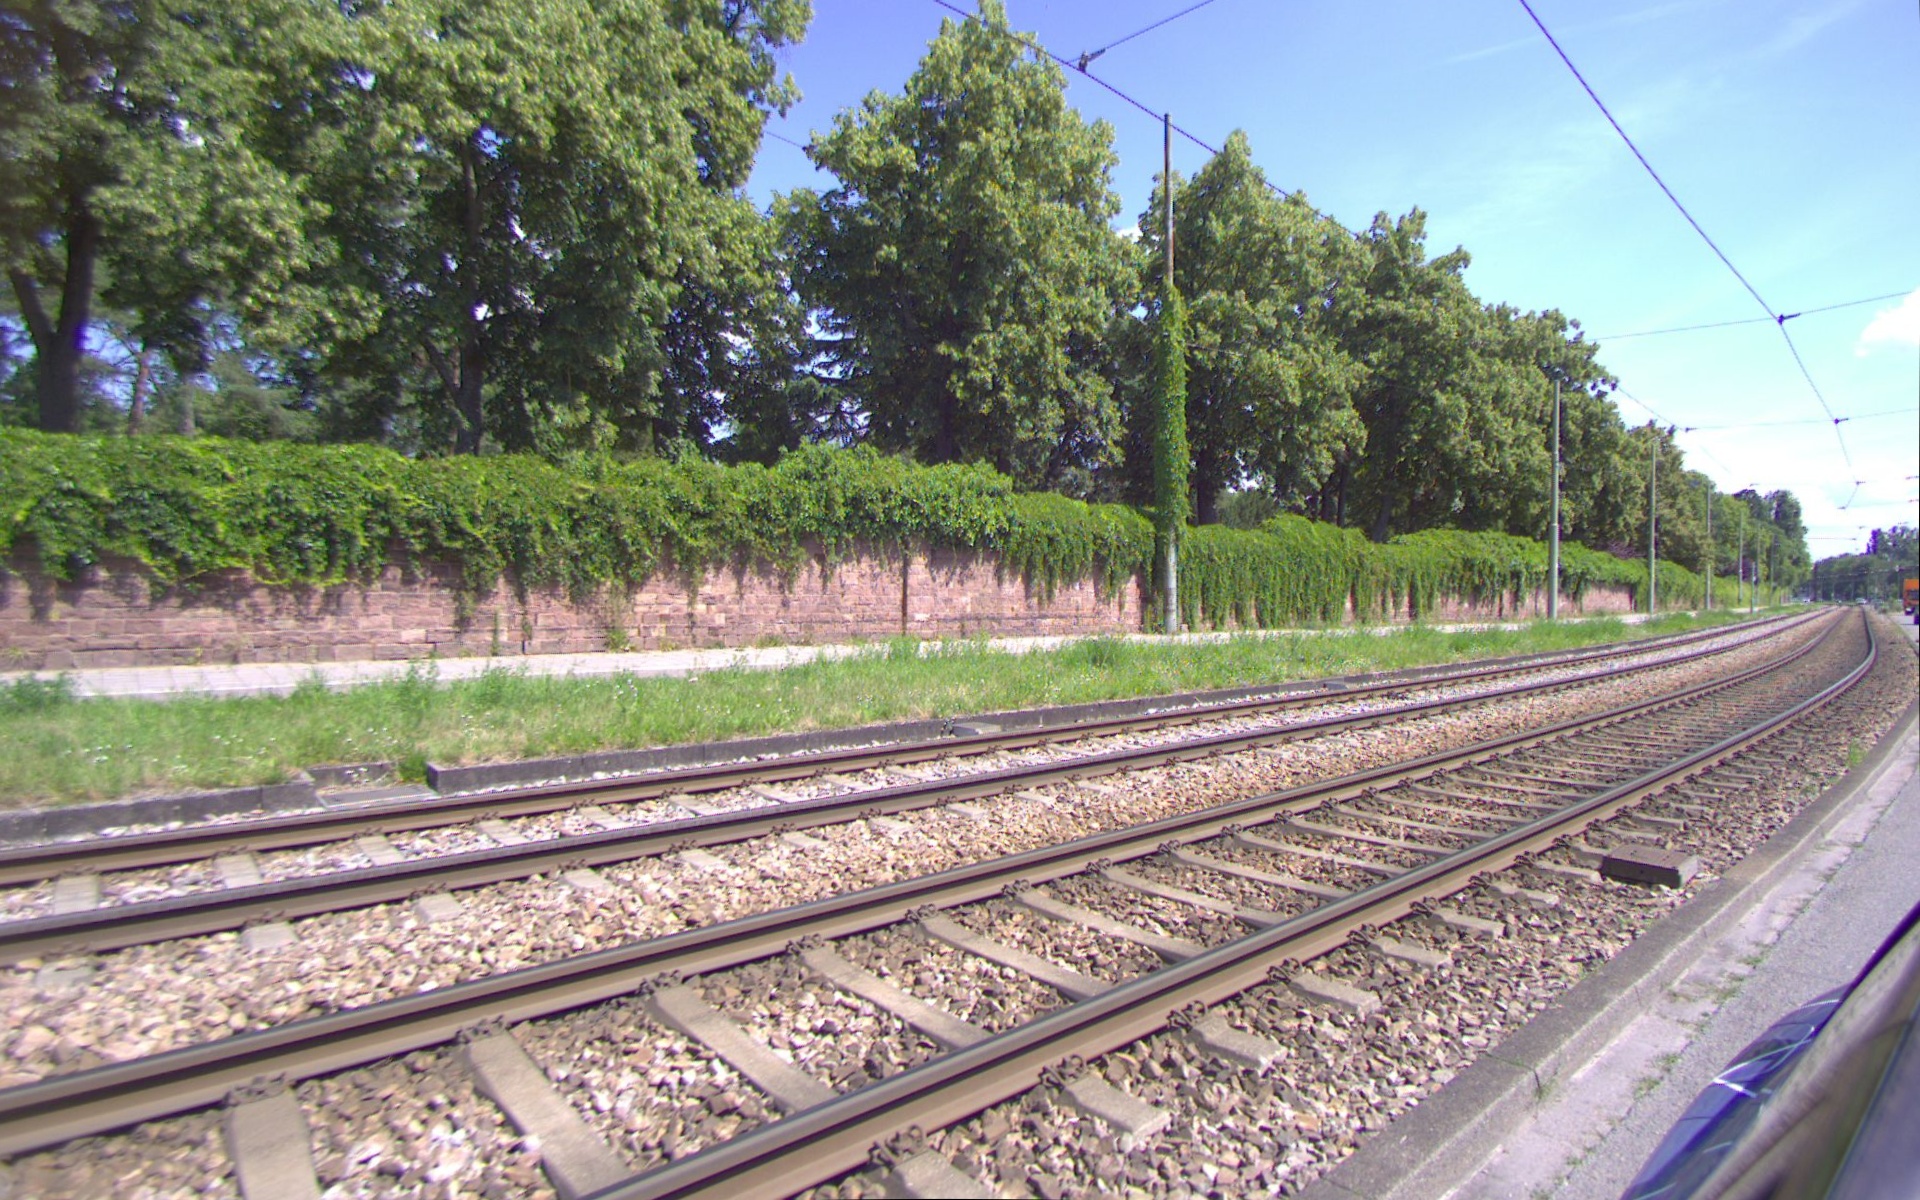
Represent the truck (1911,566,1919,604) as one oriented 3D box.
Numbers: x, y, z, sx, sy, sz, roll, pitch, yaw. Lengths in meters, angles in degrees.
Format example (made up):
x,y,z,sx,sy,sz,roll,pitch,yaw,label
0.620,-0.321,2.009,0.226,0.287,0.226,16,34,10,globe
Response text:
x,y,z,sx,sy,sz,roll,pitch,yaw,label
96.123,-1.453,100.097,2.839,3.640,8.568,1,1,44,truck
